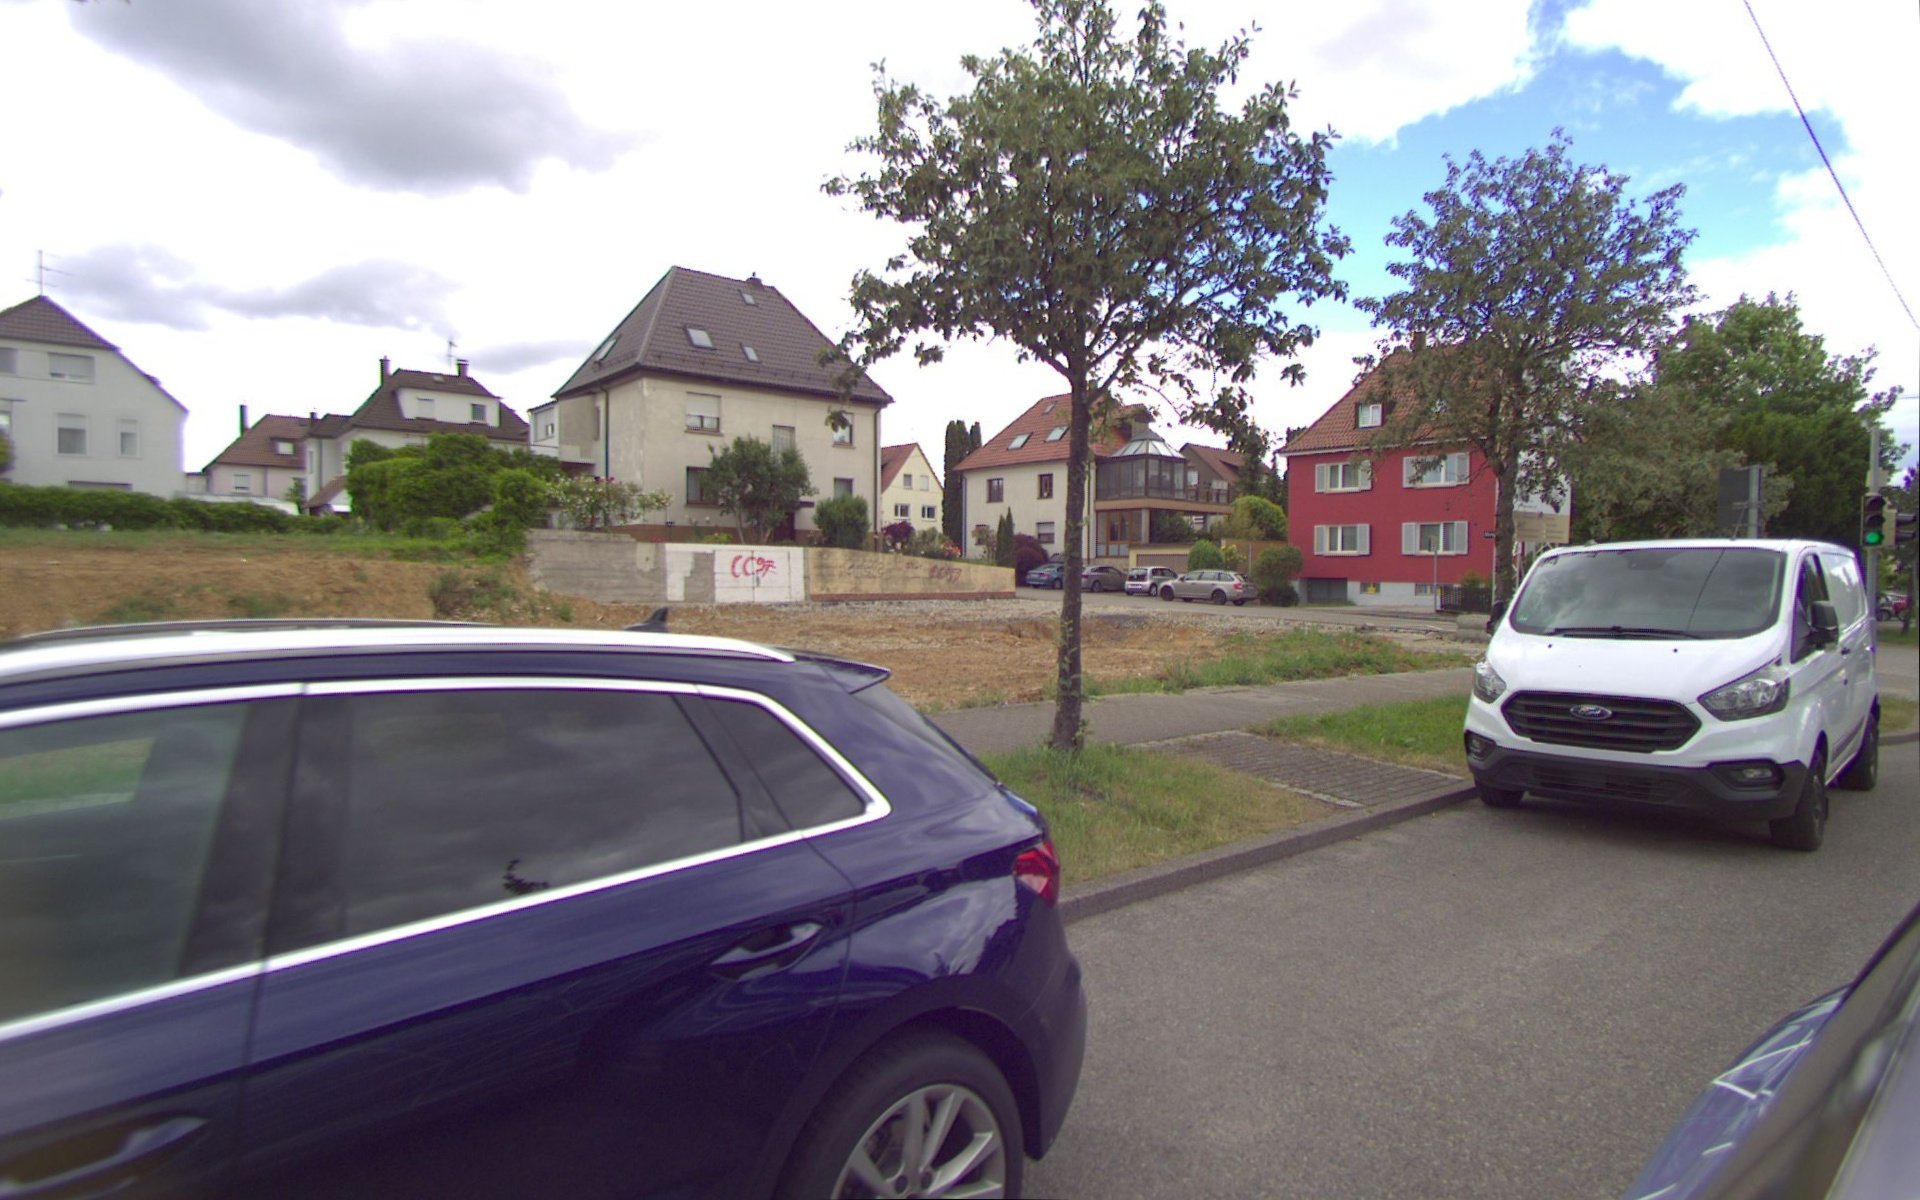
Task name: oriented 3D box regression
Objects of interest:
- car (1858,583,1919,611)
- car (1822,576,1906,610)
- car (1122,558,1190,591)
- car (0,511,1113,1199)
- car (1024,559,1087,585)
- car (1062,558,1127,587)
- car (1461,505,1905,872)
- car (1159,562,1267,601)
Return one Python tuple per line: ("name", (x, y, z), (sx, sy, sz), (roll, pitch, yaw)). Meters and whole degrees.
("car", (54.304, -0.150, 58.608), (3.352, 1.477, 1.722), (4, 3, 43))
("car", (51.216, -0.429, 57.387), (1.554, 1.653, 3.356), (0, 5, -44))
("car", (9.833, -1.256, 50.660), (3.442, 1.560, 1.619), (-1, 0, -42))
("car", (-1.730, 0.668, 1.527), (4.149, 1.535, 1.667), (0, 0, -43))
("car", (5.325, -1.535, 56.288), (3.442, 1.340, 1.619), (-1, 0, -42))
("car", (7.254, -1.439, 54.335), (3.442, 1.485, 1.619), (-1, 0, -42))
("car", (5.689, 0.453, 7.683), (4.706, 1.968, 1.777), (0, 1, -42))
("car", (10.862, -0.802, 43.605), (1.730, 1.442, 4.227), (1, 2, -42))
